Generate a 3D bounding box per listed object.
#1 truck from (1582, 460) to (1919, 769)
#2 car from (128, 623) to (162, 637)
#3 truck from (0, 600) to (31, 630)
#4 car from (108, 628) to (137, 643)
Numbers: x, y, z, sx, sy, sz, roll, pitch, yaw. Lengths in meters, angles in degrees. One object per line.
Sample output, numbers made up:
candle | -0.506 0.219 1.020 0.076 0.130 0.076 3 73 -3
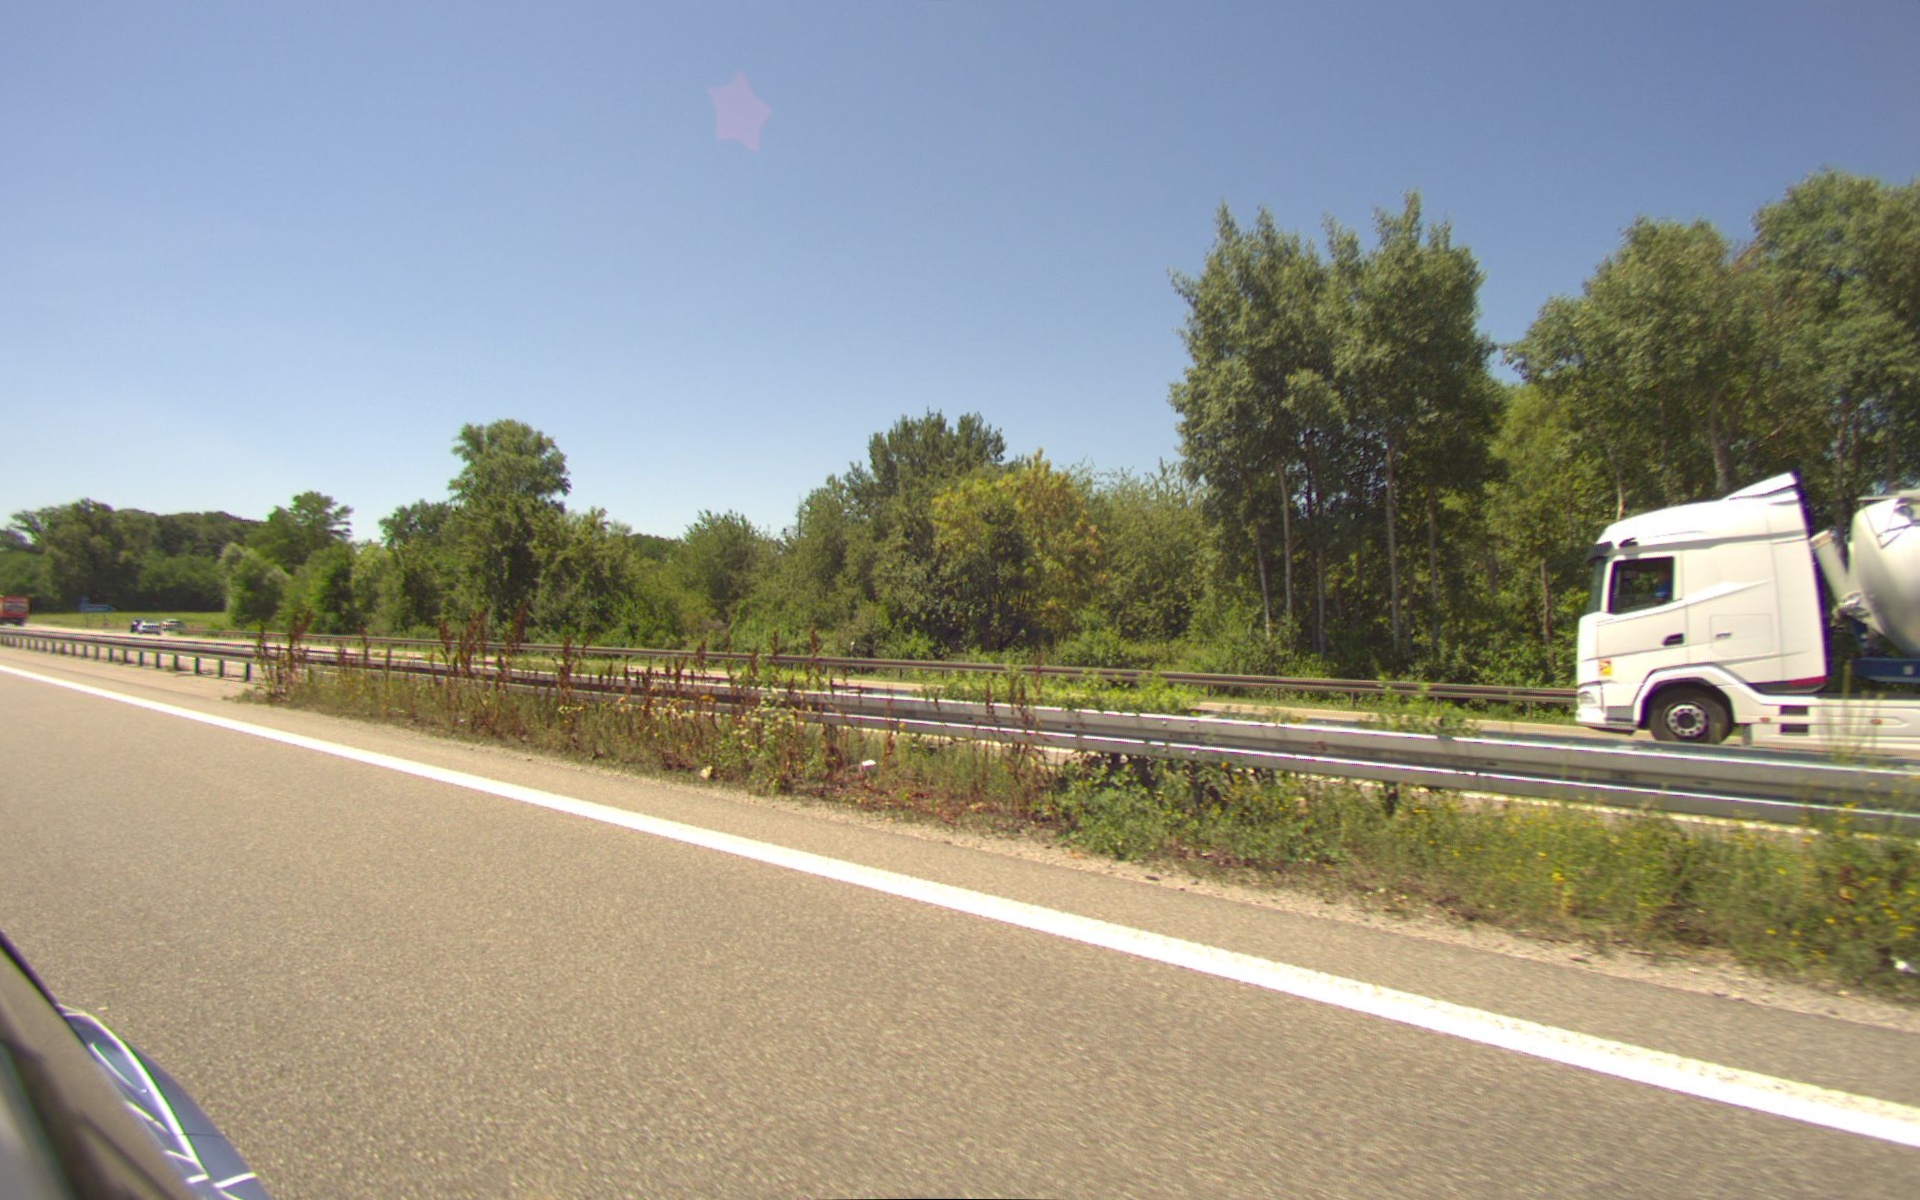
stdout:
truck | 16.658 0.188 11.782 15.807 4.049 2.925 -1 -3 40
car | -86.044 3.181 106.809 4.970 1.423 1.973 -1 -2 41
truck | -121.511 1.940 129.210 9.799 3.755 3.033 -1 -2 41
car | -95.160 4.047 114.934 4.267 1.590 1.972 -1 -3 43
